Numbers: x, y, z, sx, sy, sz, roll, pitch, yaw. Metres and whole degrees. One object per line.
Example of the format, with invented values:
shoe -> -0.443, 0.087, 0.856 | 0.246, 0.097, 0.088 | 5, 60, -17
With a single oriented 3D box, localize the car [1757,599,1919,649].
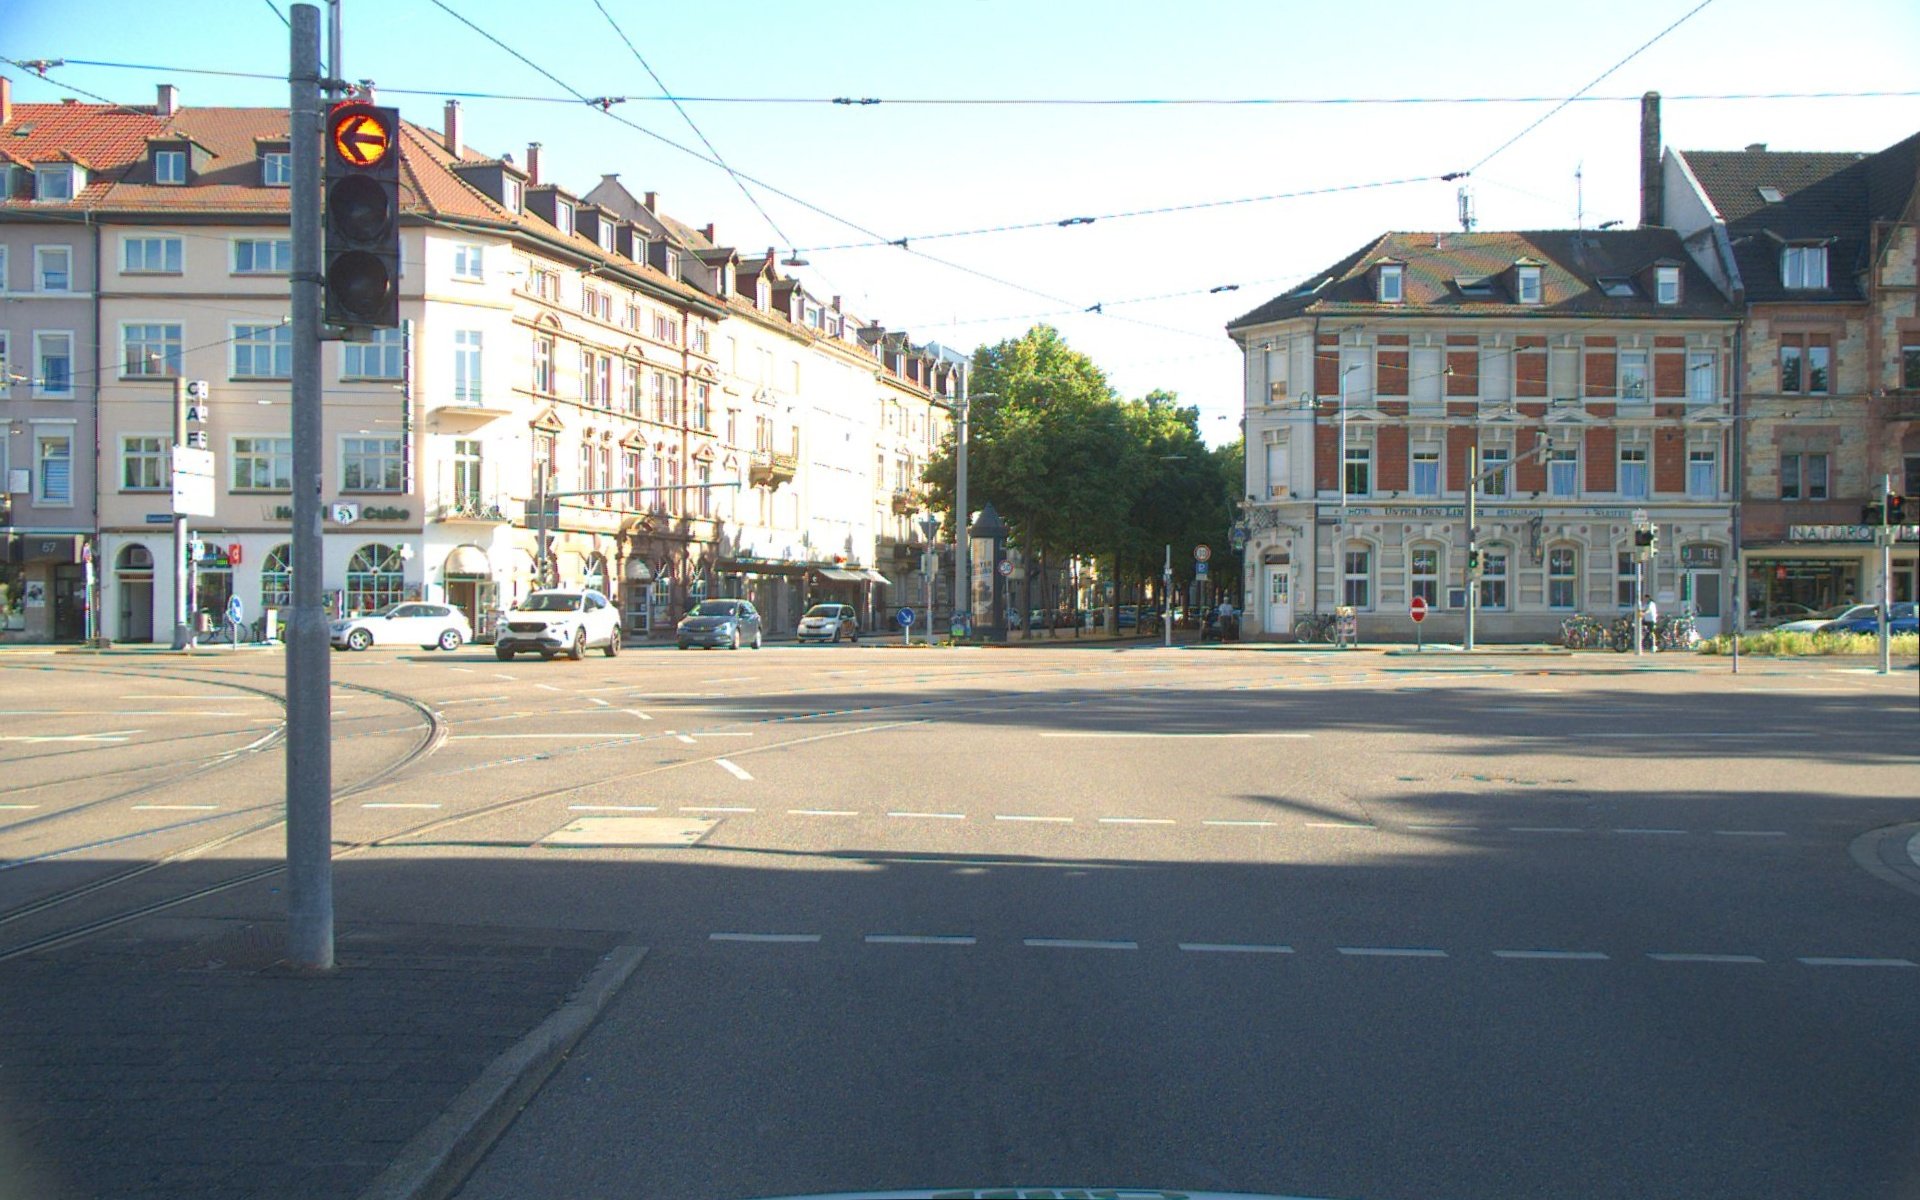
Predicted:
car -> 25.964, 0.703, 48.928 | 3.906, 1.437, 1.845 | 0, 0, -2

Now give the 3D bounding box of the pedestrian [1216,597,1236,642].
pedestrian -> 10.090, 0.746, 62.761 | 0.700, 1.698, 0.940 | 0, 0, 11

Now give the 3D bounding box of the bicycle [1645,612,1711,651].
bicycle -> 23.041, 1.000, 53.102 | 1.926, 1.211, 0.677 | 0, 0, -13

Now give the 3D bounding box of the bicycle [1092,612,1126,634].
bicycle -> 7.467, 1.160, 82.837 | 0.577, 1.086, 1.924 | 0, 0, -37

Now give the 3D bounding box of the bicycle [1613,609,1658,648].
bicycle -> 21.819, 0.907, 53.482 | 0.663, 1.211, 1.967 | 0, 0, 0

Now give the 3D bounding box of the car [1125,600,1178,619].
car -> 15.577, 0.778, 134.583 | 3.910, 1.572, 1.998 | 0, 0, 28

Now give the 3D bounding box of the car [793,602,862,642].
car -> -5.199, 0.859, 65.431 | 1.681, 1.523, 3.586 | 0, 0, 13

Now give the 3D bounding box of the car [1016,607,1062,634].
car -> 4.667, 1.183, 97.382 | 1.951, 1.523, 4.037 | 0, 0, 13

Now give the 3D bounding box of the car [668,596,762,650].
car -> -7.199, 0.648, 49.032 | 1.736, 1.523, 4.576 | 0, 0, 5

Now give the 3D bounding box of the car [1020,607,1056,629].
car -> 5.799, 1.313, 122.648 | 1.951, 1.523, 4.037 | 0, 0, 13

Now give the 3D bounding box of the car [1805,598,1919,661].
car -> 25.912, 0.792, 45.932 | 3.906, 1.697, 1.954 | 0, 0, -2

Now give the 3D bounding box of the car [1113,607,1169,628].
car -> 14.073, 1.324, 128.482 | 3.910, 1.572, 1.998 | 0, 0, 28

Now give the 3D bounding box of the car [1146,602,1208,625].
car -> 15.290, 0.952, 116.735 | 3.913, 1.572, 1.996 | 0, 0, 30

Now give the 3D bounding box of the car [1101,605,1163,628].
car -> 12.035, 1.145, 115.812 | 3.910, 1.572, 1.998 | 0, 0, 28

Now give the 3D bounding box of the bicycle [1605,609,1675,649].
bicycle -> 21.059, 0.902, 51.221 | 1.920, 1.211, 0.602 | 0, 0, 2

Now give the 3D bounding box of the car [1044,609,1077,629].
car -> 8.018, 1.499, 131.883 | 1.951, 1.523, 4.037 | 0, 0, 13

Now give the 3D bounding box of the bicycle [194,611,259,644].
bicycle -> -24.904, 0.935, 56.178 | 1.906, 1.086, 0.582 | 0, 0, -8

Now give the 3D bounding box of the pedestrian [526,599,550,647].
pedestrian -> -14.520, 0.789, 56.949 | 0.617, 1.670, 0.553 | 0, 0, 13

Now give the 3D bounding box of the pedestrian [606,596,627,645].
pedestrian -> -13.017, 0.765, 62.689 | 0.567, 1.868, 0.633 | 0, 0, 15

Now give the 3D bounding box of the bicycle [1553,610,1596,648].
bicycle -> 19.830, 0.926, 53.433 | 0.663, 1.211, 1.967 | 0, 0, 0

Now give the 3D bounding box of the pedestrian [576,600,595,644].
pedestrian -> -14.218, 0.840, 62.797 | 0.539, 1.670, 0.538 | 0, 0, 15

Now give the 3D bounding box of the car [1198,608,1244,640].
car -> 13.073, 1.163, 82.579 | 1.951, 1.523, 4.037 | 0, 0, 13

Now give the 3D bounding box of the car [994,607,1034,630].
car -> 3.706, 1.232, 112.895 | 1.951, 1.523, 4.037 | 0, 0, 13

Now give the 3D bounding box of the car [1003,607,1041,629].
car -> 4.452, 1.264, 117.392 | 1.951, 1.523, 4.037 | 0, 0, 13

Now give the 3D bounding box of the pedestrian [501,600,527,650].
pedestrian -> -14.953, 0.829, 55.484 | 0.661, 1.670, 0.579 | 0, 0, 13

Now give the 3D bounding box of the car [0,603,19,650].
car -> -32.481, 0.829, 52.134 | 4.547, 1.465, 1.743 | 0, -1, -4

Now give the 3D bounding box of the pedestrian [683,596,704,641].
pedestrian -> -11.478, 0.778, 71.228 | 0.667, 1.942, 0.633 | 0, 0, 15

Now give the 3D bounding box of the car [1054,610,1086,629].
car -> 9.118, 1.613, 136.629 | 1.951, 1.523, 4.037 | 0, 0, 13

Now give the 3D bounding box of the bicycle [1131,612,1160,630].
bicycle -> 11.165, 1.268, 99.384 | 0.577, 1.086, 1.924 | 0, 0, -37

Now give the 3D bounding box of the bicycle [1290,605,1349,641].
bicycle -> 12.456, 0.800, 57.337 | 1.919, 1.211, 0.546 | 0, 0, 4

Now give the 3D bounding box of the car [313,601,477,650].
car -> -16.628, 0.719, 48.794 | 4.183, 1.379, 1.971 | 0, 0, -41

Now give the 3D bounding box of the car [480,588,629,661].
car -> -8.840, 0.503, 36.448 | 1.952, 1.523, 4.349 | 0, 0, 4

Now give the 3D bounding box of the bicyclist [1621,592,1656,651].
bicyclist -> 21.019, 0.664, 51.220 | 0.854, 1.795, 0.602 | 0, 0, 2

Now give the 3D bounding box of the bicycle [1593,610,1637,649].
bicycle -> 21.157, 0.936, 53.479 | 0.663, 1.211, 1.967 | 0, 0, 0

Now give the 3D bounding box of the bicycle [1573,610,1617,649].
bicycle -> 20.519, 0.953, 53.469 | 0.663, 1.211, 1.967 | 0, 0, 0

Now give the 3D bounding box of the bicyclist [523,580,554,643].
bicyclist -> -10.819, 0.281, 42.444 | 0.704, 1.587, 0.981 | 0, 0, -20
